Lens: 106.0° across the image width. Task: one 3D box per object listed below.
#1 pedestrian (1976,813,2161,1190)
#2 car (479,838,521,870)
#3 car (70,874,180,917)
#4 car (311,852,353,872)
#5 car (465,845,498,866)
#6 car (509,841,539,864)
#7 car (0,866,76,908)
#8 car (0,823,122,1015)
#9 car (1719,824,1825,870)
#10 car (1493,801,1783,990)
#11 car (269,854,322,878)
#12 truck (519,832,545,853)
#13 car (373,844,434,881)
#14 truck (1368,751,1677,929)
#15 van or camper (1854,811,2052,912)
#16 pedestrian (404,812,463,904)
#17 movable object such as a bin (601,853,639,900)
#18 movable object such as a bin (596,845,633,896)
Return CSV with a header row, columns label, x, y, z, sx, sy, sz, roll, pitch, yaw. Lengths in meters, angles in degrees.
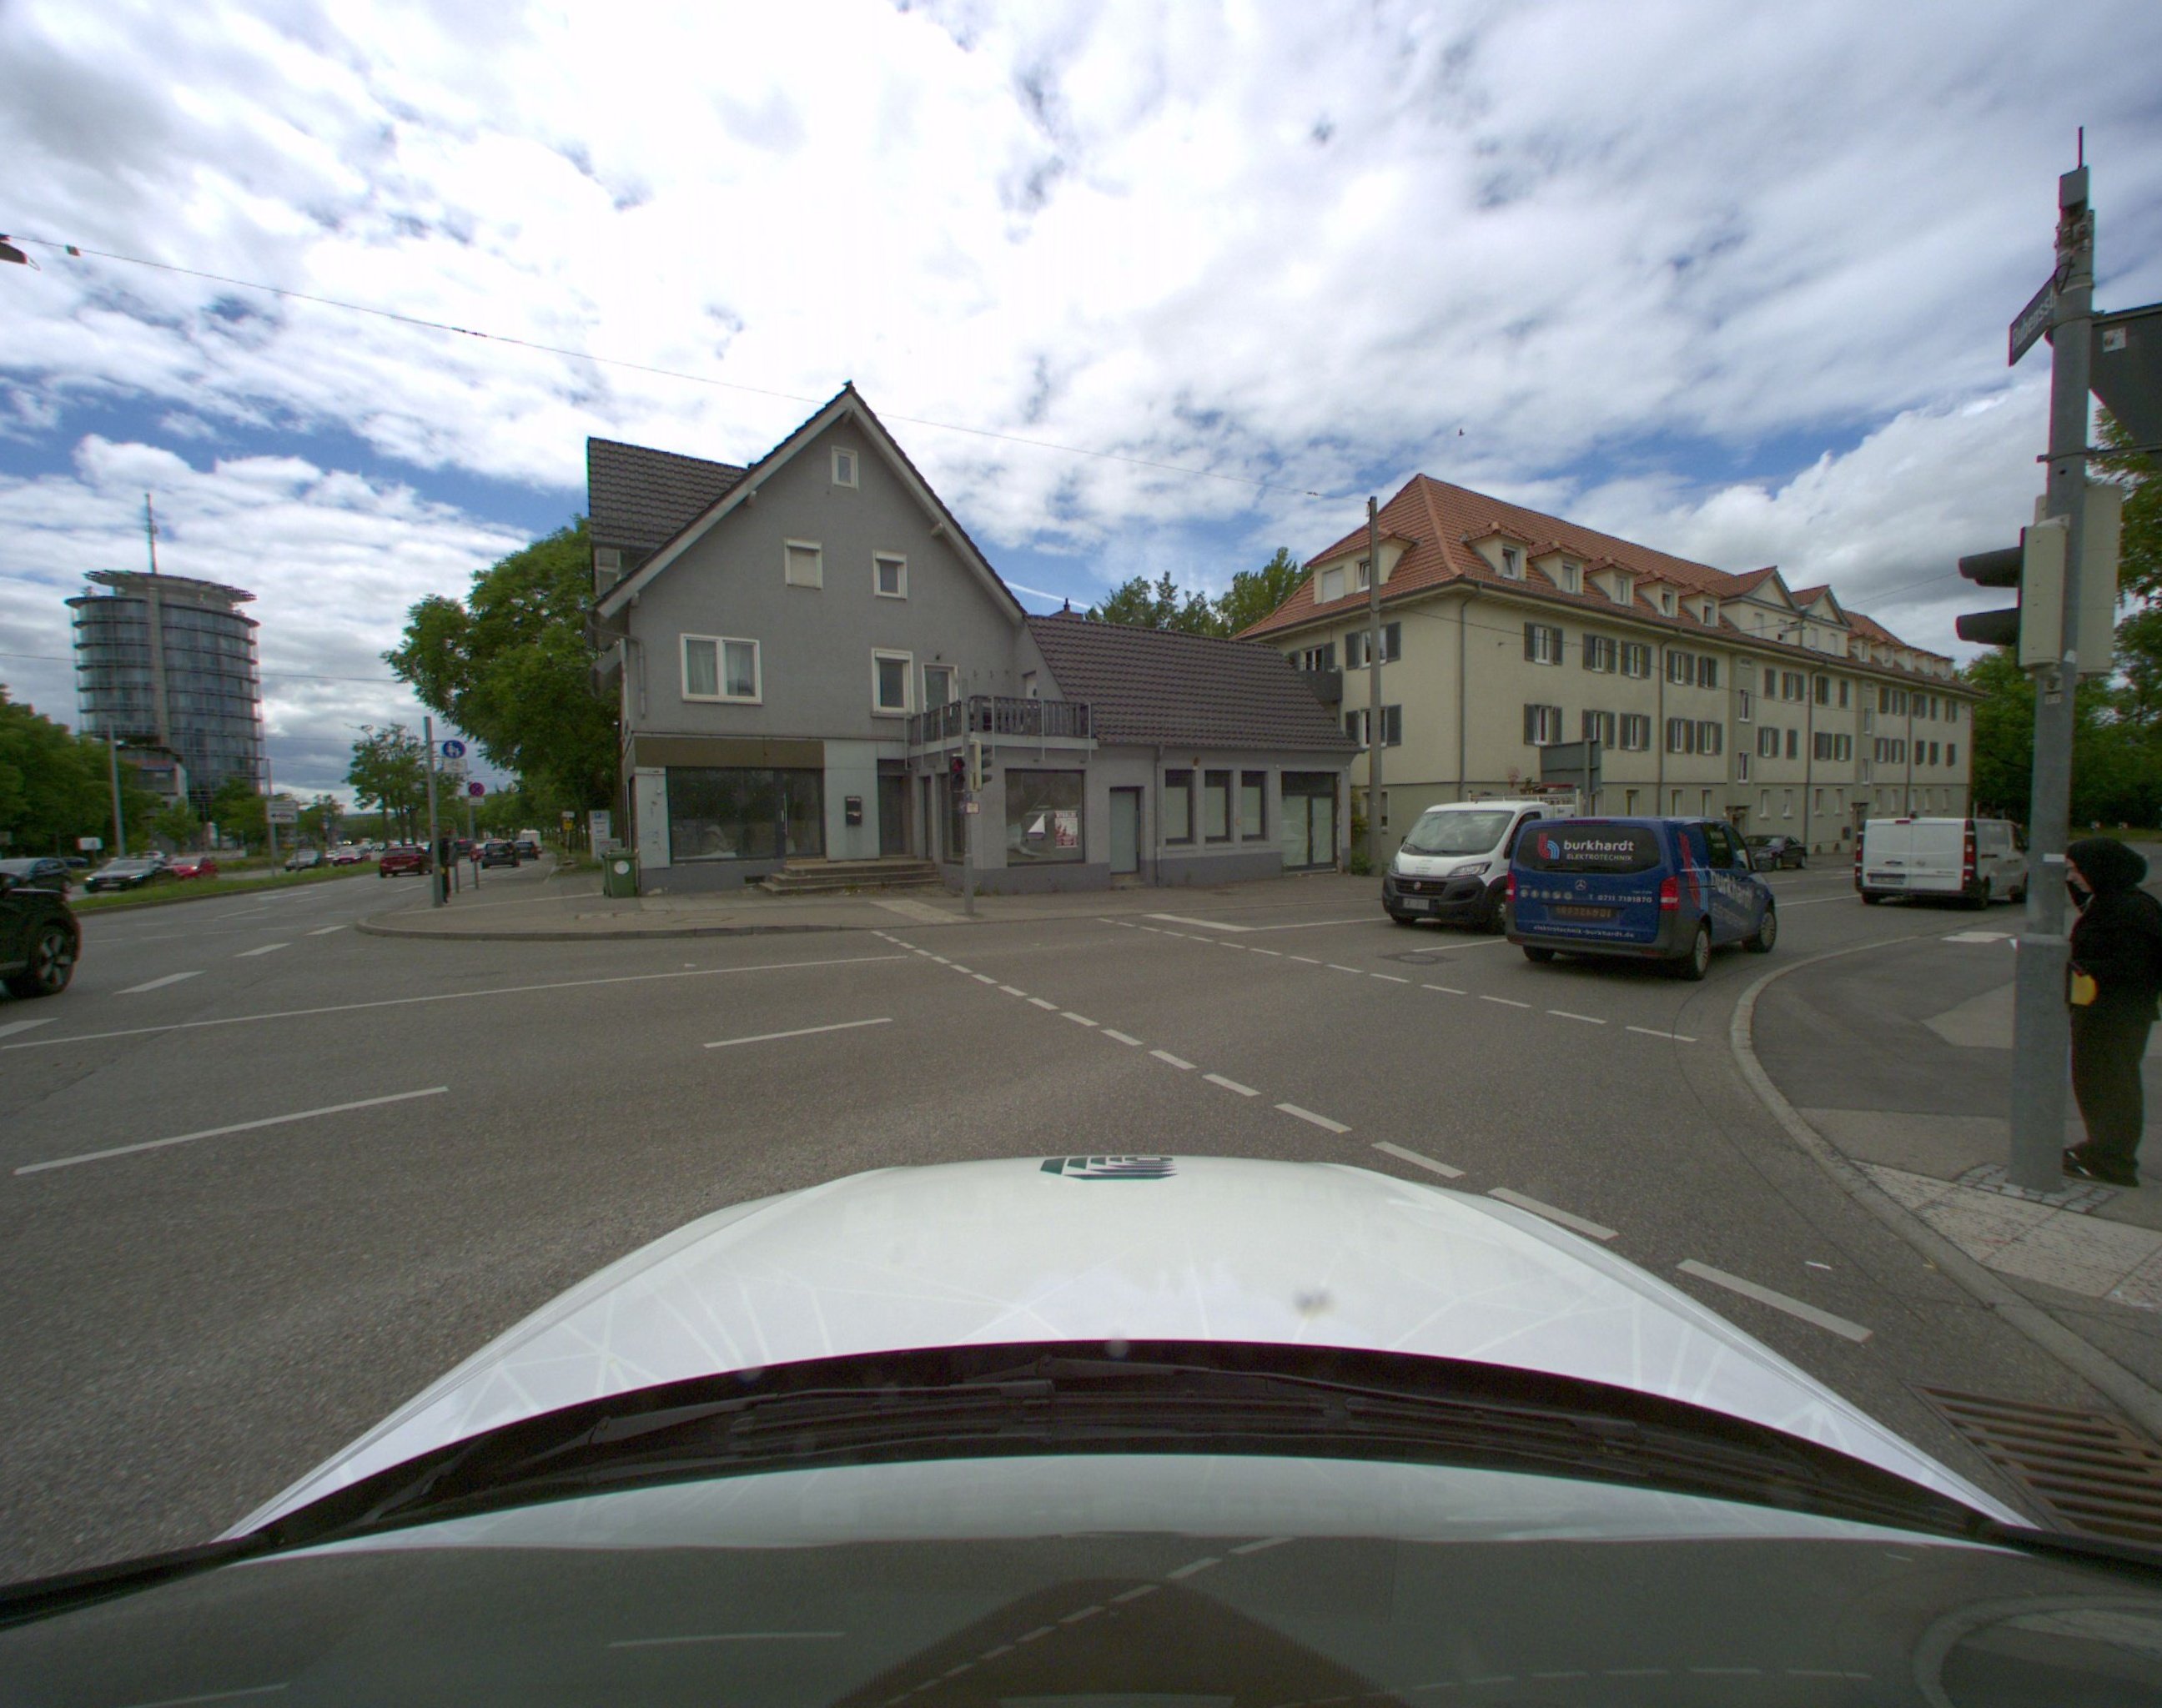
label,x,y,z,sx,sy,sz,roll,pitch,yaw
pedestrian,4.727,0.626,3.788,0.609,1.597,0.603,-1,-1,-32
car,-34.465,-0.021,48.390,1.759,1.723,3.959,-3,2,-33
car,-42.148,1.769,36.033,2.008,1.573,3.959,-3,2,-32
car,-65.430,0.671,71.168,2.008,1.573,3.958,-3,2,-33
car,-49.508,0.100,67.216,1.884,1.485,3.954,-5,4,-39
car,-44.048,-0.123,64.483,1.758,1.723,3.960,-3,2,-32
car,-44.585,1.382,34.045,2.008,1.573,3.959,-3,2,-32
car,-10.581,0.627,6.712,1.934,1.751,4.634,-2,2,-30
car,28.264,-0.321,33.318,4.010,1.749,1.982,-2,1,-28
car,7.416,0.365,10.655,4.564,1.965,1.931,-2,1,-39
car,-57.398,0.872,59.551,2.008,1.573,3.958,-3,2,-33
truck,-60.622,-1.258,89.995,2.006,2.165,5.506,0,1,-30
car,-34.450,0.371,41.511,1.758,1.723,3.960,-3,2,-31
truck,8.219,-0.246,14.893,6.428,2.700,1.980,-1,0,-31
van or camper,19.706,0.079,18.357,5.112,2.013,1.981,-1,2,-31
pedestrian,-14.630,0.073,18.426,0.775,2.013,0.870,-3,2,-26
movable object such as a bin,-10.063,0.481,17.774,0.602,0.987,0.567,-3,2,-38
movable object such as a bin,-10.450,0.361,18.232,0.602,1.101,0.567,-3,2,-38
